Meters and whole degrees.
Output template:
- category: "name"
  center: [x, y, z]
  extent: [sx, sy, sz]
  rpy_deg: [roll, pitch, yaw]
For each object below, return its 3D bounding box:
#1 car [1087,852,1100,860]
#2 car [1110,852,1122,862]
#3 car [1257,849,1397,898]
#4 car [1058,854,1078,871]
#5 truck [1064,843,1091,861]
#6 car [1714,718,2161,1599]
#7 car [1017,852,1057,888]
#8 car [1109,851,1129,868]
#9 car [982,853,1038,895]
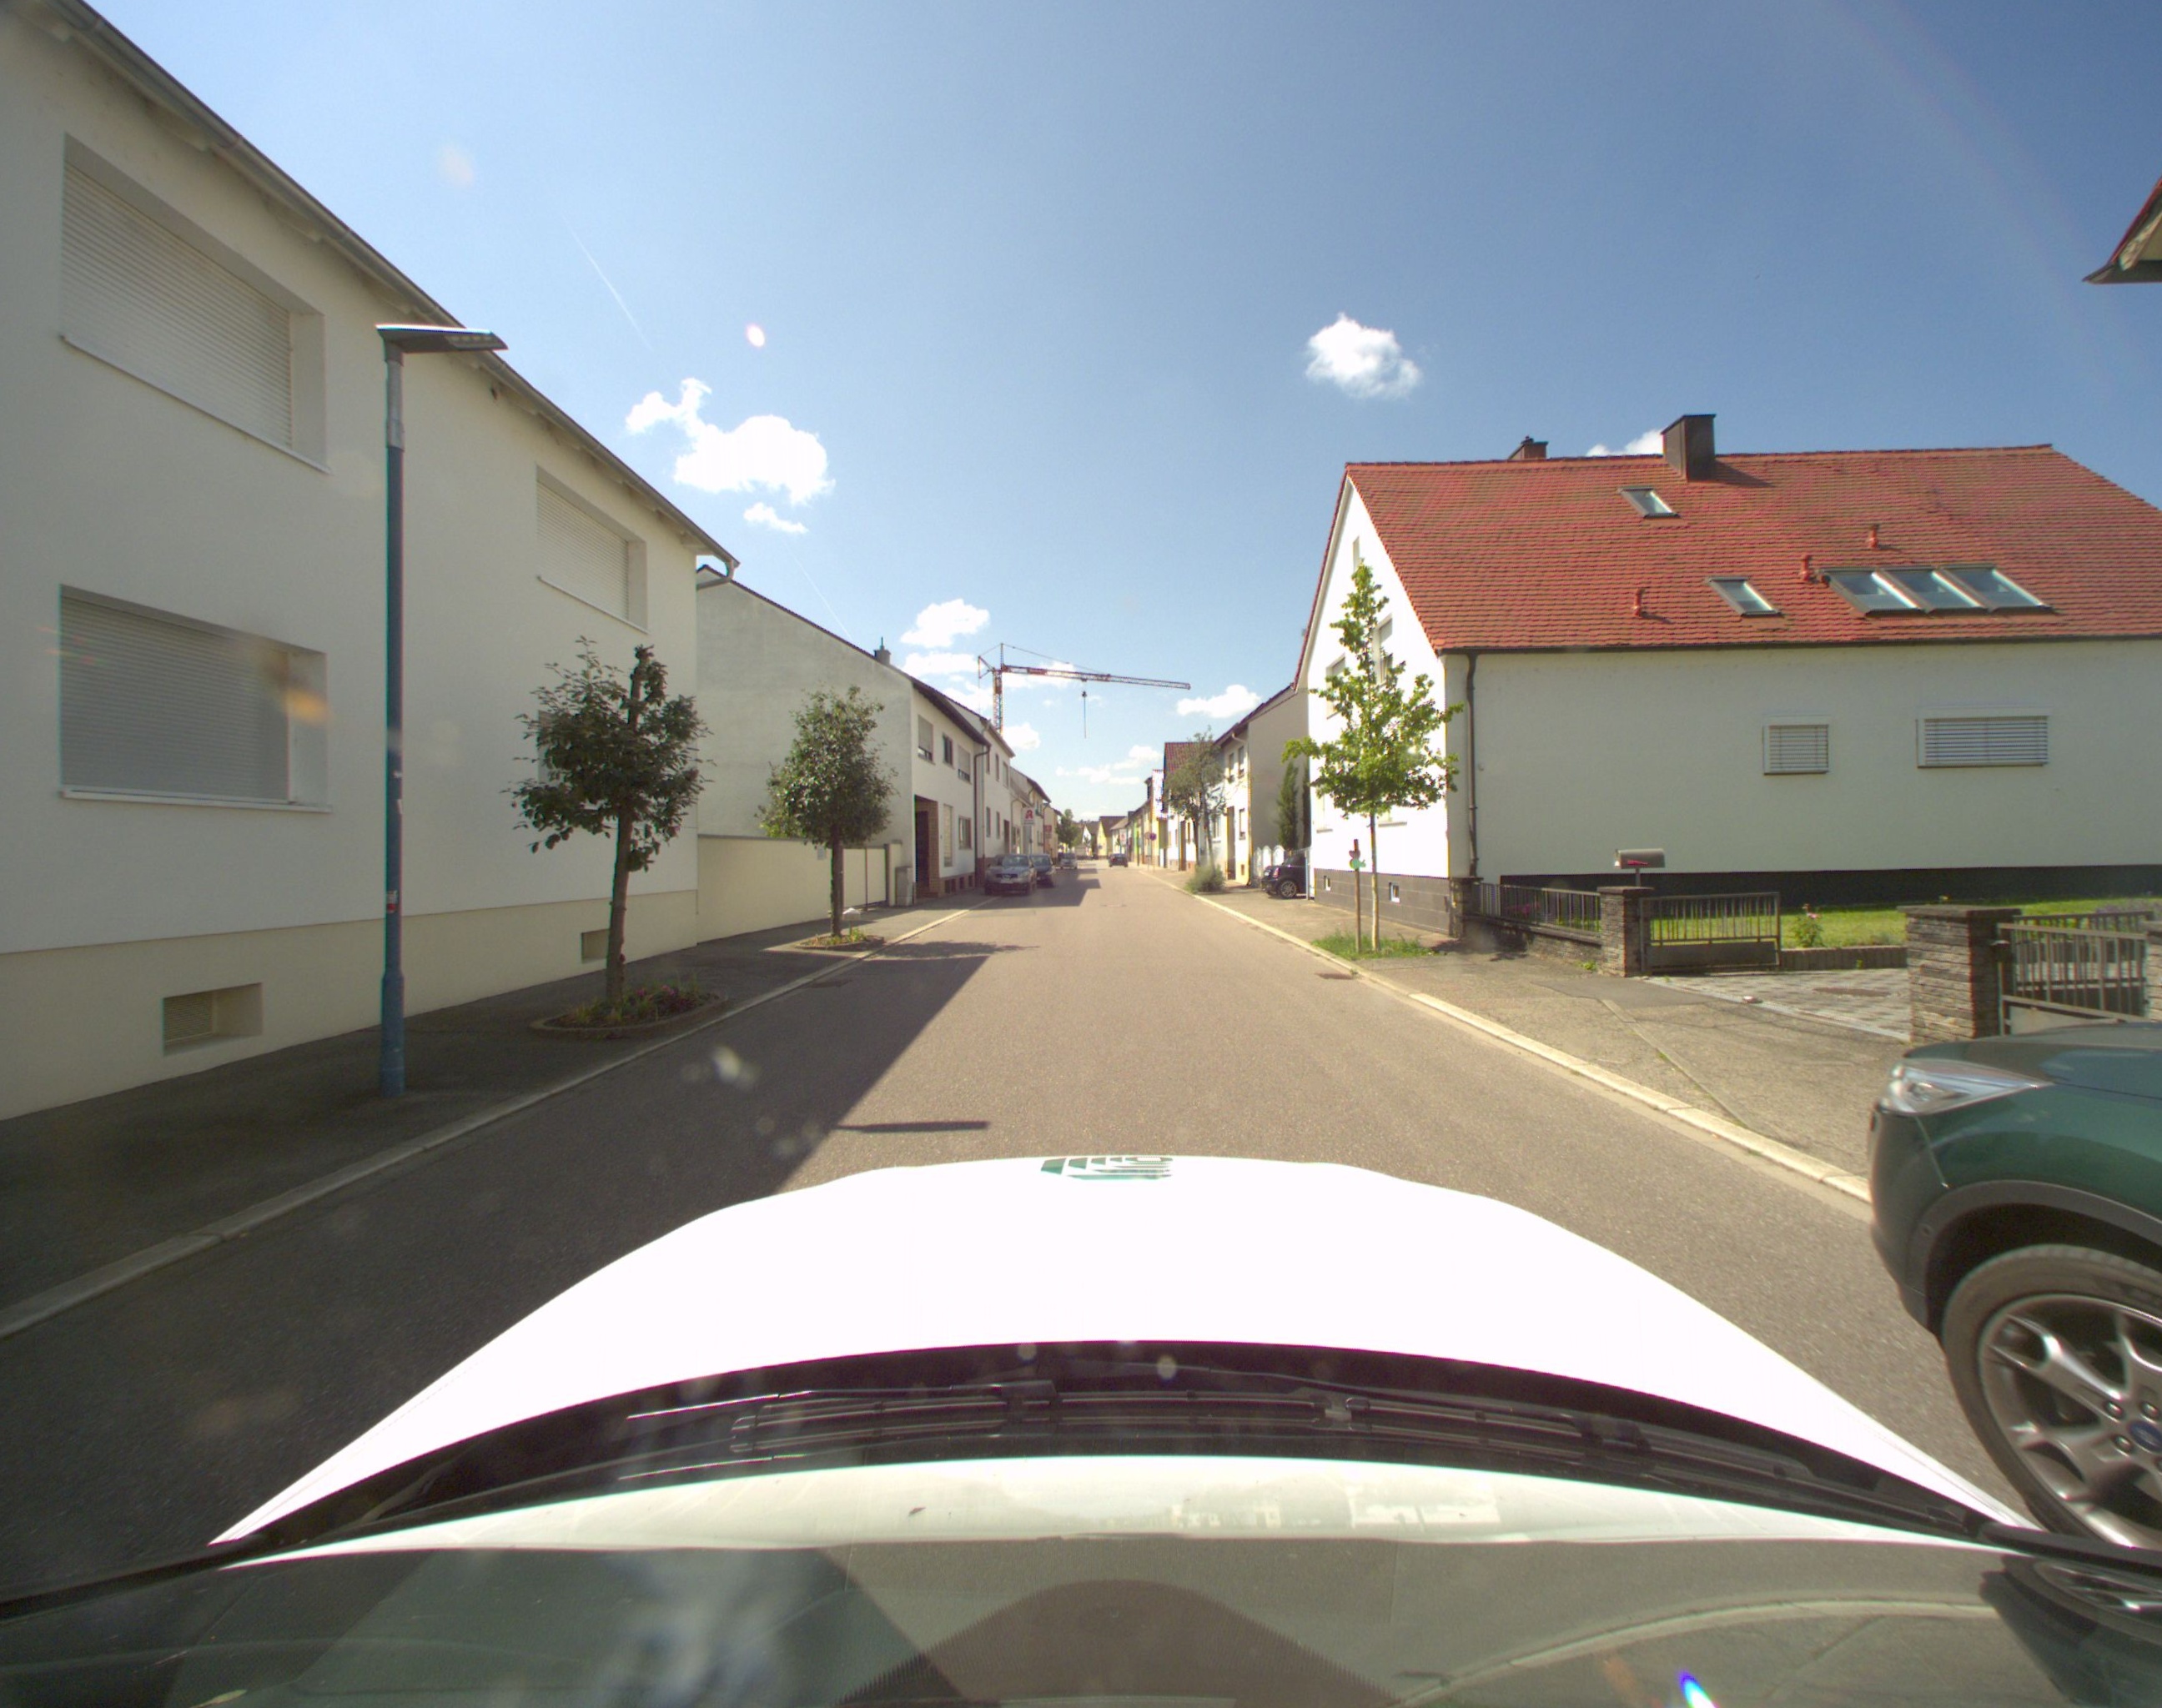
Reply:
- category: "car"
  center: [2.743, 0.481, 185.253]
  extent: [1.786, 1.753, 4.206]
  rpy_deg: [-2, 0, -16]
- category: "car"
  center: [5.858, 0.538, 138.124]
  extent: [1.777, 1.564, 4.335]
  rpy_deg: [-2, 0, -1]
- category: "car"
  center: [7.704, 0.602, 25.760]
  extent: [3.907, 1.415, 1.741]
  rpy_deg: [-1, 0, 1]
- category: "car"
  center: [-1.241, 0.807, 78.145]
  extent: [1.717, 1.555, 4.174]
  rpy_deg: [1, 0, 2]
- category: "truck"
  center: [-0.931, -0.410, 183.541]
  extent: [3.381, 3.865, 13.872]
  rpy_deg: [-2, 0, -11]
- category: "car"
  center: [2.976, 0.586, 0.553]
  extent: [1.723, 1.717, 4.274]
  rpy_deg: [-1, 0, -1]
- category: "car"
  center: [-2.050, 0.707, 38.974]
  extent: [1.648, 1.609, 4.061]
  rpy_deg: [-1, 0, 0]
- category: "car"
  center: [3.885, 0.564, 84.098]
  extent: [1.777, 1.753, 3.999]
  rpy_deg: [-2, 0, 0]
- category: "car"
  center: [-2.721, 0.734, 32.197]
  extent: [1.752, 1.525, 4.289]
  rpy_deg: [-1, 0, 0]
